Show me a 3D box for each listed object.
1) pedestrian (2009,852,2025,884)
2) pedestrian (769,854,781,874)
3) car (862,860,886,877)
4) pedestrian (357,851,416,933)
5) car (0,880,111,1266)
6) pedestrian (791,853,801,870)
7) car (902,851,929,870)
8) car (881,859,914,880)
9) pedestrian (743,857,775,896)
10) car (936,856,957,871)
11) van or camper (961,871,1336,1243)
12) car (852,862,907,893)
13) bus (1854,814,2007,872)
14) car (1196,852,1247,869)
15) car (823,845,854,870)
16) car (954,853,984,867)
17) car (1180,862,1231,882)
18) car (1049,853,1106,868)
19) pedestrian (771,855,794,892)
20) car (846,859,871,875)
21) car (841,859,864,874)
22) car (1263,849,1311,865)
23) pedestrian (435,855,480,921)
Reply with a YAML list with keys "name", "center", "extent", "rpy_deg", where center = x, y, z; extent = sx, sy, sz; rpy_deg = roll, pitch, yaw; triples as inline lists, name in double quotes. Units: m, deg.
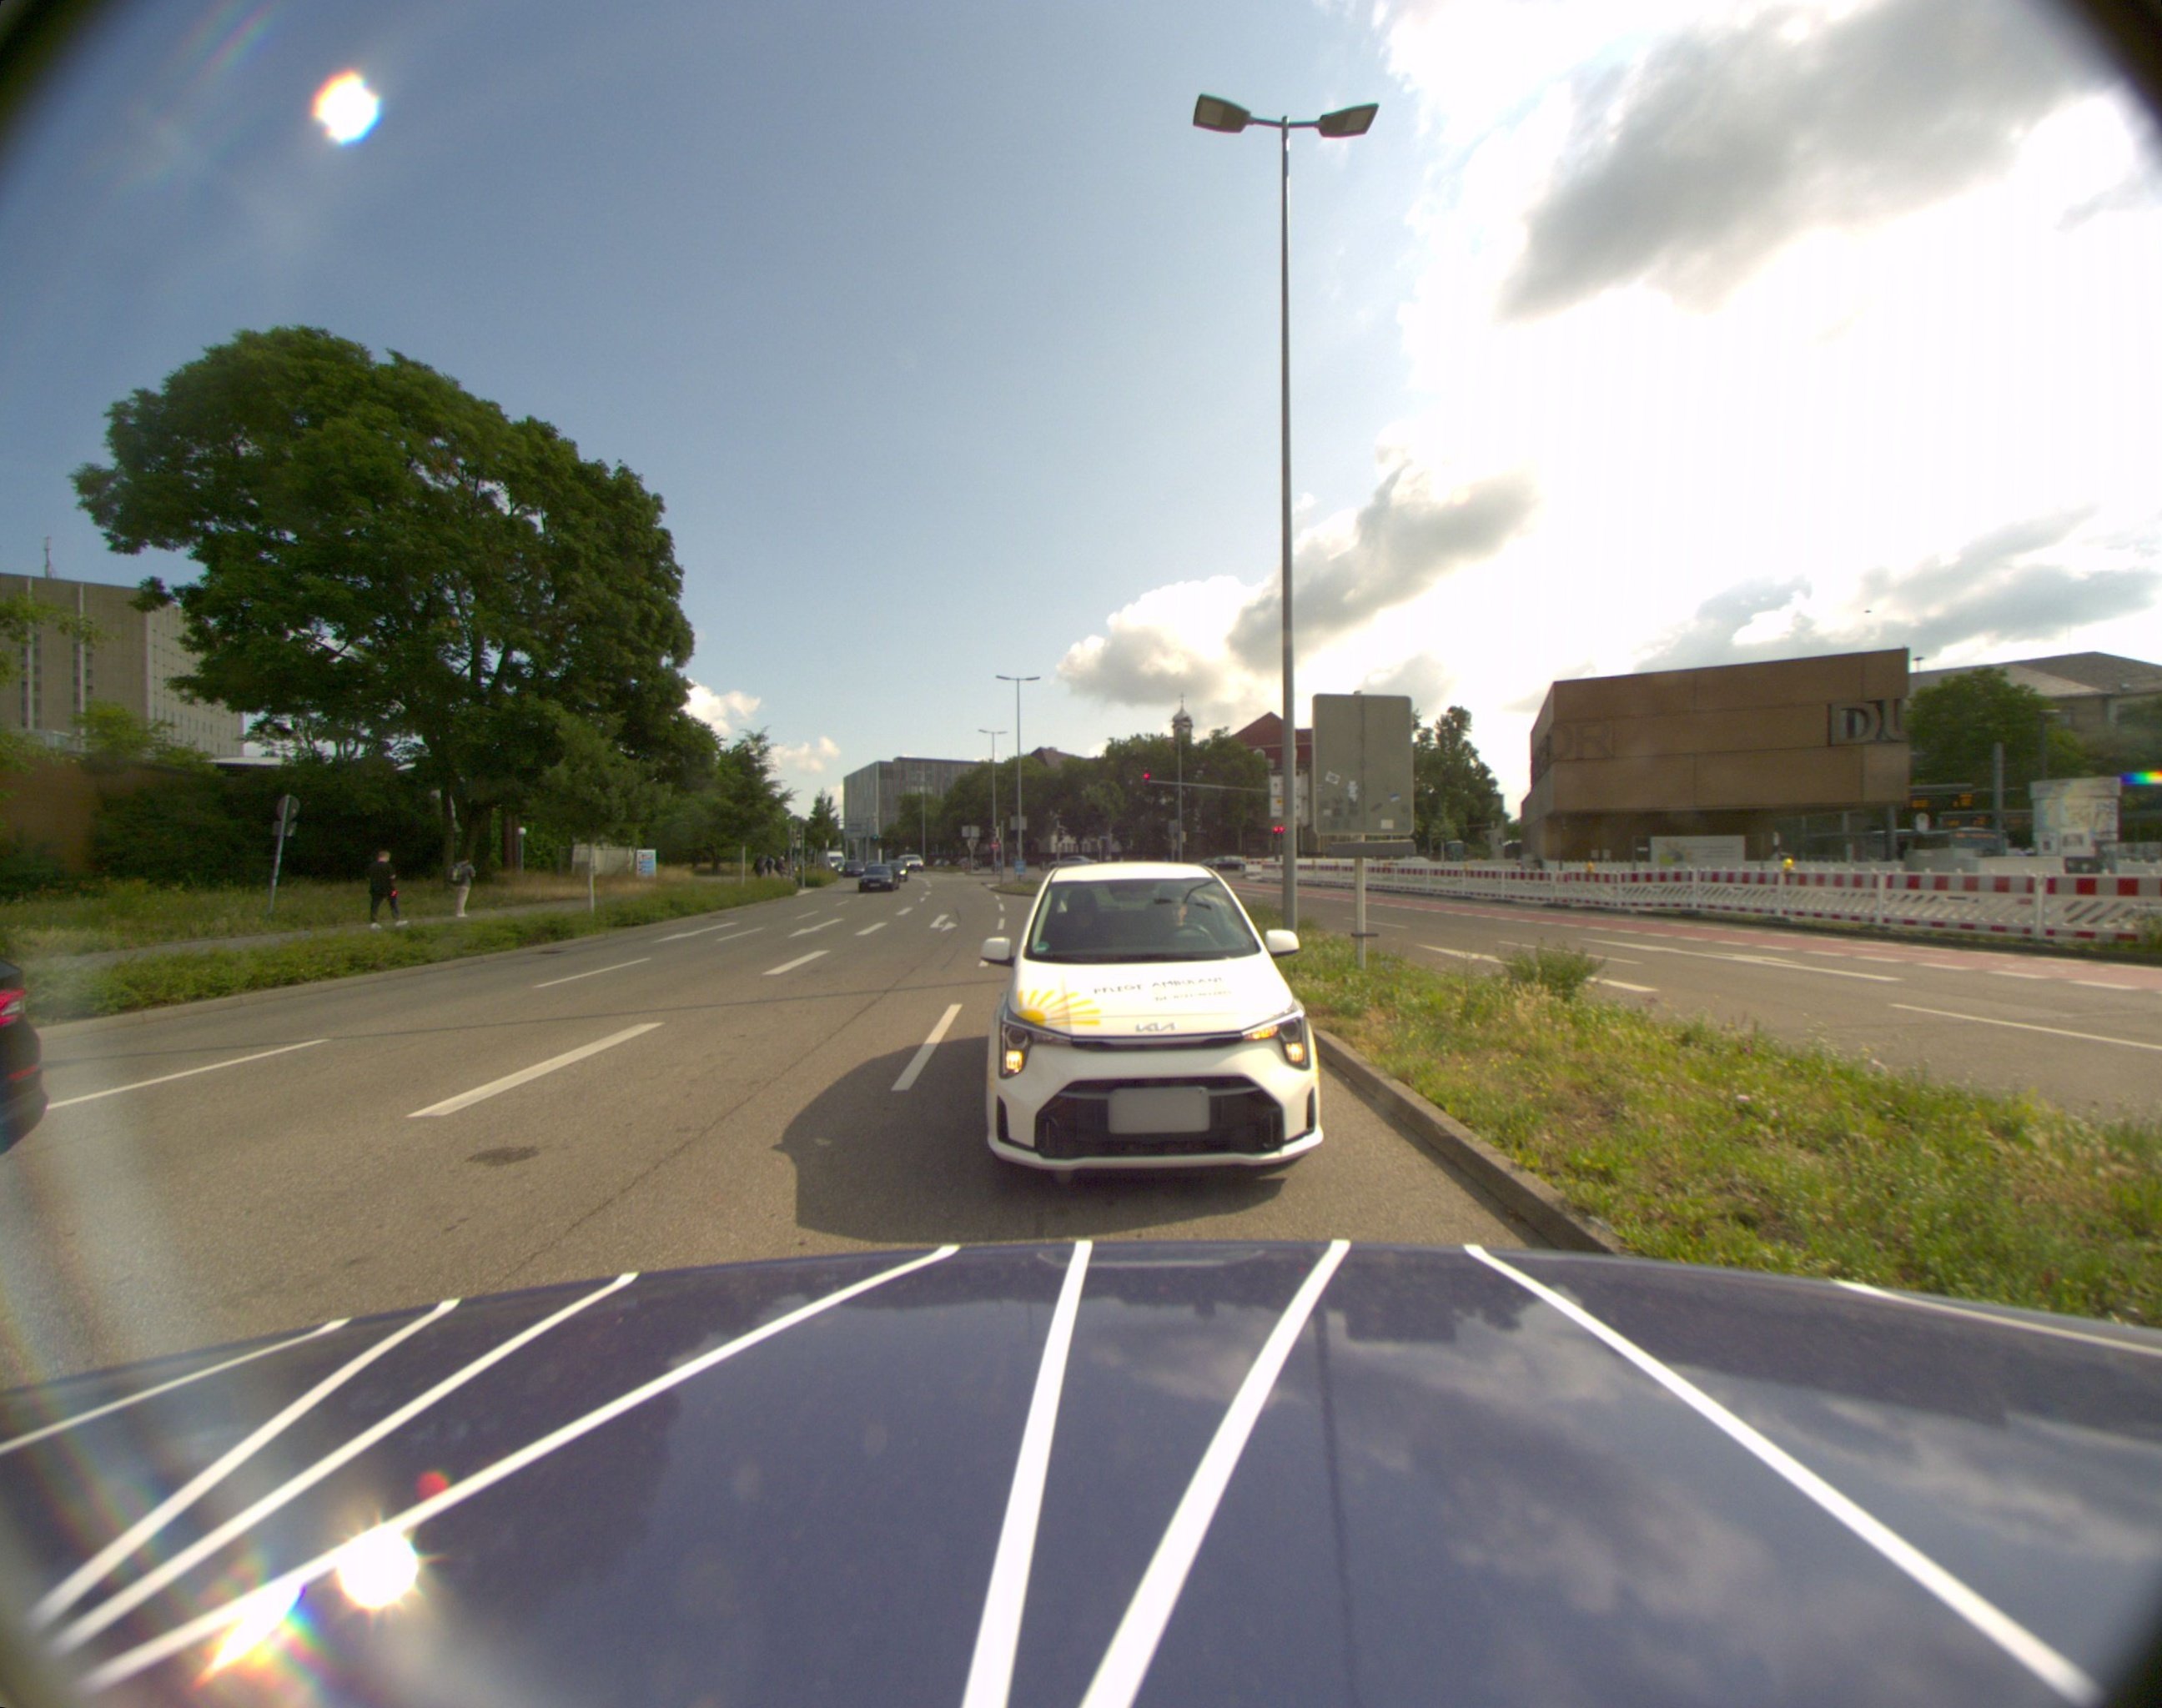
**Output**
- name: "pedestrian"
  center: [46.808, 0.685, 37.996]
  extent: [0.357, 1.593, 0.365]
  rpy_deg: [0, 1, 21]
- name: "pedestrian"
  center: [-31.830, 1.053, 79.054]
  extent: [0.988, 2.002, 1.128]
  rpy_deg: [-3, 1, -16]
- name: "car"
  center: [-21.874, 1.536, 80.172]
  extent: [1.893, 1.608, 3.992]
  rpy_deg: [-3, 1, -22]
- name: "pedestrian"
  center: [-16.284, 0.871, 17.823]
  extent: [0.760, 1.860, 0.645]
  rpy_deg: [2, 1, 1]
- name: "car"
  center: [-5.690, 1.001, 1.302]
  extent: [1.999, 1.659, 4.682]
  rpy_deg: [-1, 1, 0]
- name: "pedestrian"
  center: [-32.819, 0.842, 87.401]
  extent: [0.988, 2.002, 1.128]
  rpy_deg: [-1, 1, -16]
- name: "car"
  center: [-18.658, 0.732, 85.584]
  extent: [2.002, 2.002, 5.064]
  rpy_deg: [-3, 1, -22]
- name: "car"
  center: [-13.220, 1.105, 55.037]
  extent: [1.713, 1.445, 3.998]
  rpy_deg: [-1, 0, -5]
- name: "pedestrian"
  center: [-17.373, 1.217, 41.005]
  extent: [1.128, 2.002, 0.988]
  rpy_deg: [-2, 1, 20]
- name: "car"
  center: [-19.212, 1.380, 108.349]
  extent: [1.775, 2.002, 3.604]
  rpy_deg: [-3, 1, -31]
- name: "van or camper"
  center: [0.369, 0.933, 5.325]
  extent: [1.627, 1.467, 4.000]
  rpy_deg: [0, 1, 2]
- name: "car"
  center: [-10.441, 1.168, 39.643]
  extent: [1.999, 1.390, 4.506]
  rpy_deg: [-1, 1, -5]
- name: "bus"
  center: [57.988, -0.689, 52.427]
  extent: [2.957, 3.487, 12.276]
  rpy_deg: [0, 0, 28]
- name: "car"
  center: [12.205, 0.556, 65.910]
  extent: [4.136, 1.382, 1.756]
  rpy_deg: [-1, 0, -29]
- name: "car"
  center: [-29.390, 0.385, 91.888]
  extent: [2.490, 2.862, 6.135]
  rpy_deg: [-1, 0, -28]
- name: "car"
  center: [-13.280, 0.662, 90.059]
  extent: [2.003, 1.586, 3.990]
  rpy_deg: [-1, 0, -32]
- name: "car"
  center: [11.950, 1.681, 72.731]
  extent: [4.346, 1.674, 1.997]
  rpy_deg: [-2, 1, -18]
- name: "car"
  center: [-0.325, 0.639, 73.550]
  extent: [5.087, 1.479, 1.962]
  rpy_deg: [0, 0, 24]
- name: "pedestrian"
  center: [-16.637, 1.094, 42.378]
  extent: [0.988, 2.002, 1.128]
  rpy_deg: [-3, 1, -16]
- name: "car"
  center: [-21.023, 1.196, 71.613]
  extent: [2.002, 1.477, 3.993]
  rpy_deg: [-1, 0, -20]
- name: "car"
  center: [-23.636, 1.221, 78.425]
  extent: [2.002, 1.477, 3.993]
  rpy_deg: [-1, 0, -20]
- name: "car"
  center: [18.866, 0.261, 69.519]
  extent: [4.136, 1.382, 1.756]
  rpy_deg: [-1, 0, -29]
- name: "pedestrian"
  center: [-17.135, 0.919, 20.904]
  extent: [0.671, 1.736, 0.645]
  rpy_deg: [2, 1, 1]
